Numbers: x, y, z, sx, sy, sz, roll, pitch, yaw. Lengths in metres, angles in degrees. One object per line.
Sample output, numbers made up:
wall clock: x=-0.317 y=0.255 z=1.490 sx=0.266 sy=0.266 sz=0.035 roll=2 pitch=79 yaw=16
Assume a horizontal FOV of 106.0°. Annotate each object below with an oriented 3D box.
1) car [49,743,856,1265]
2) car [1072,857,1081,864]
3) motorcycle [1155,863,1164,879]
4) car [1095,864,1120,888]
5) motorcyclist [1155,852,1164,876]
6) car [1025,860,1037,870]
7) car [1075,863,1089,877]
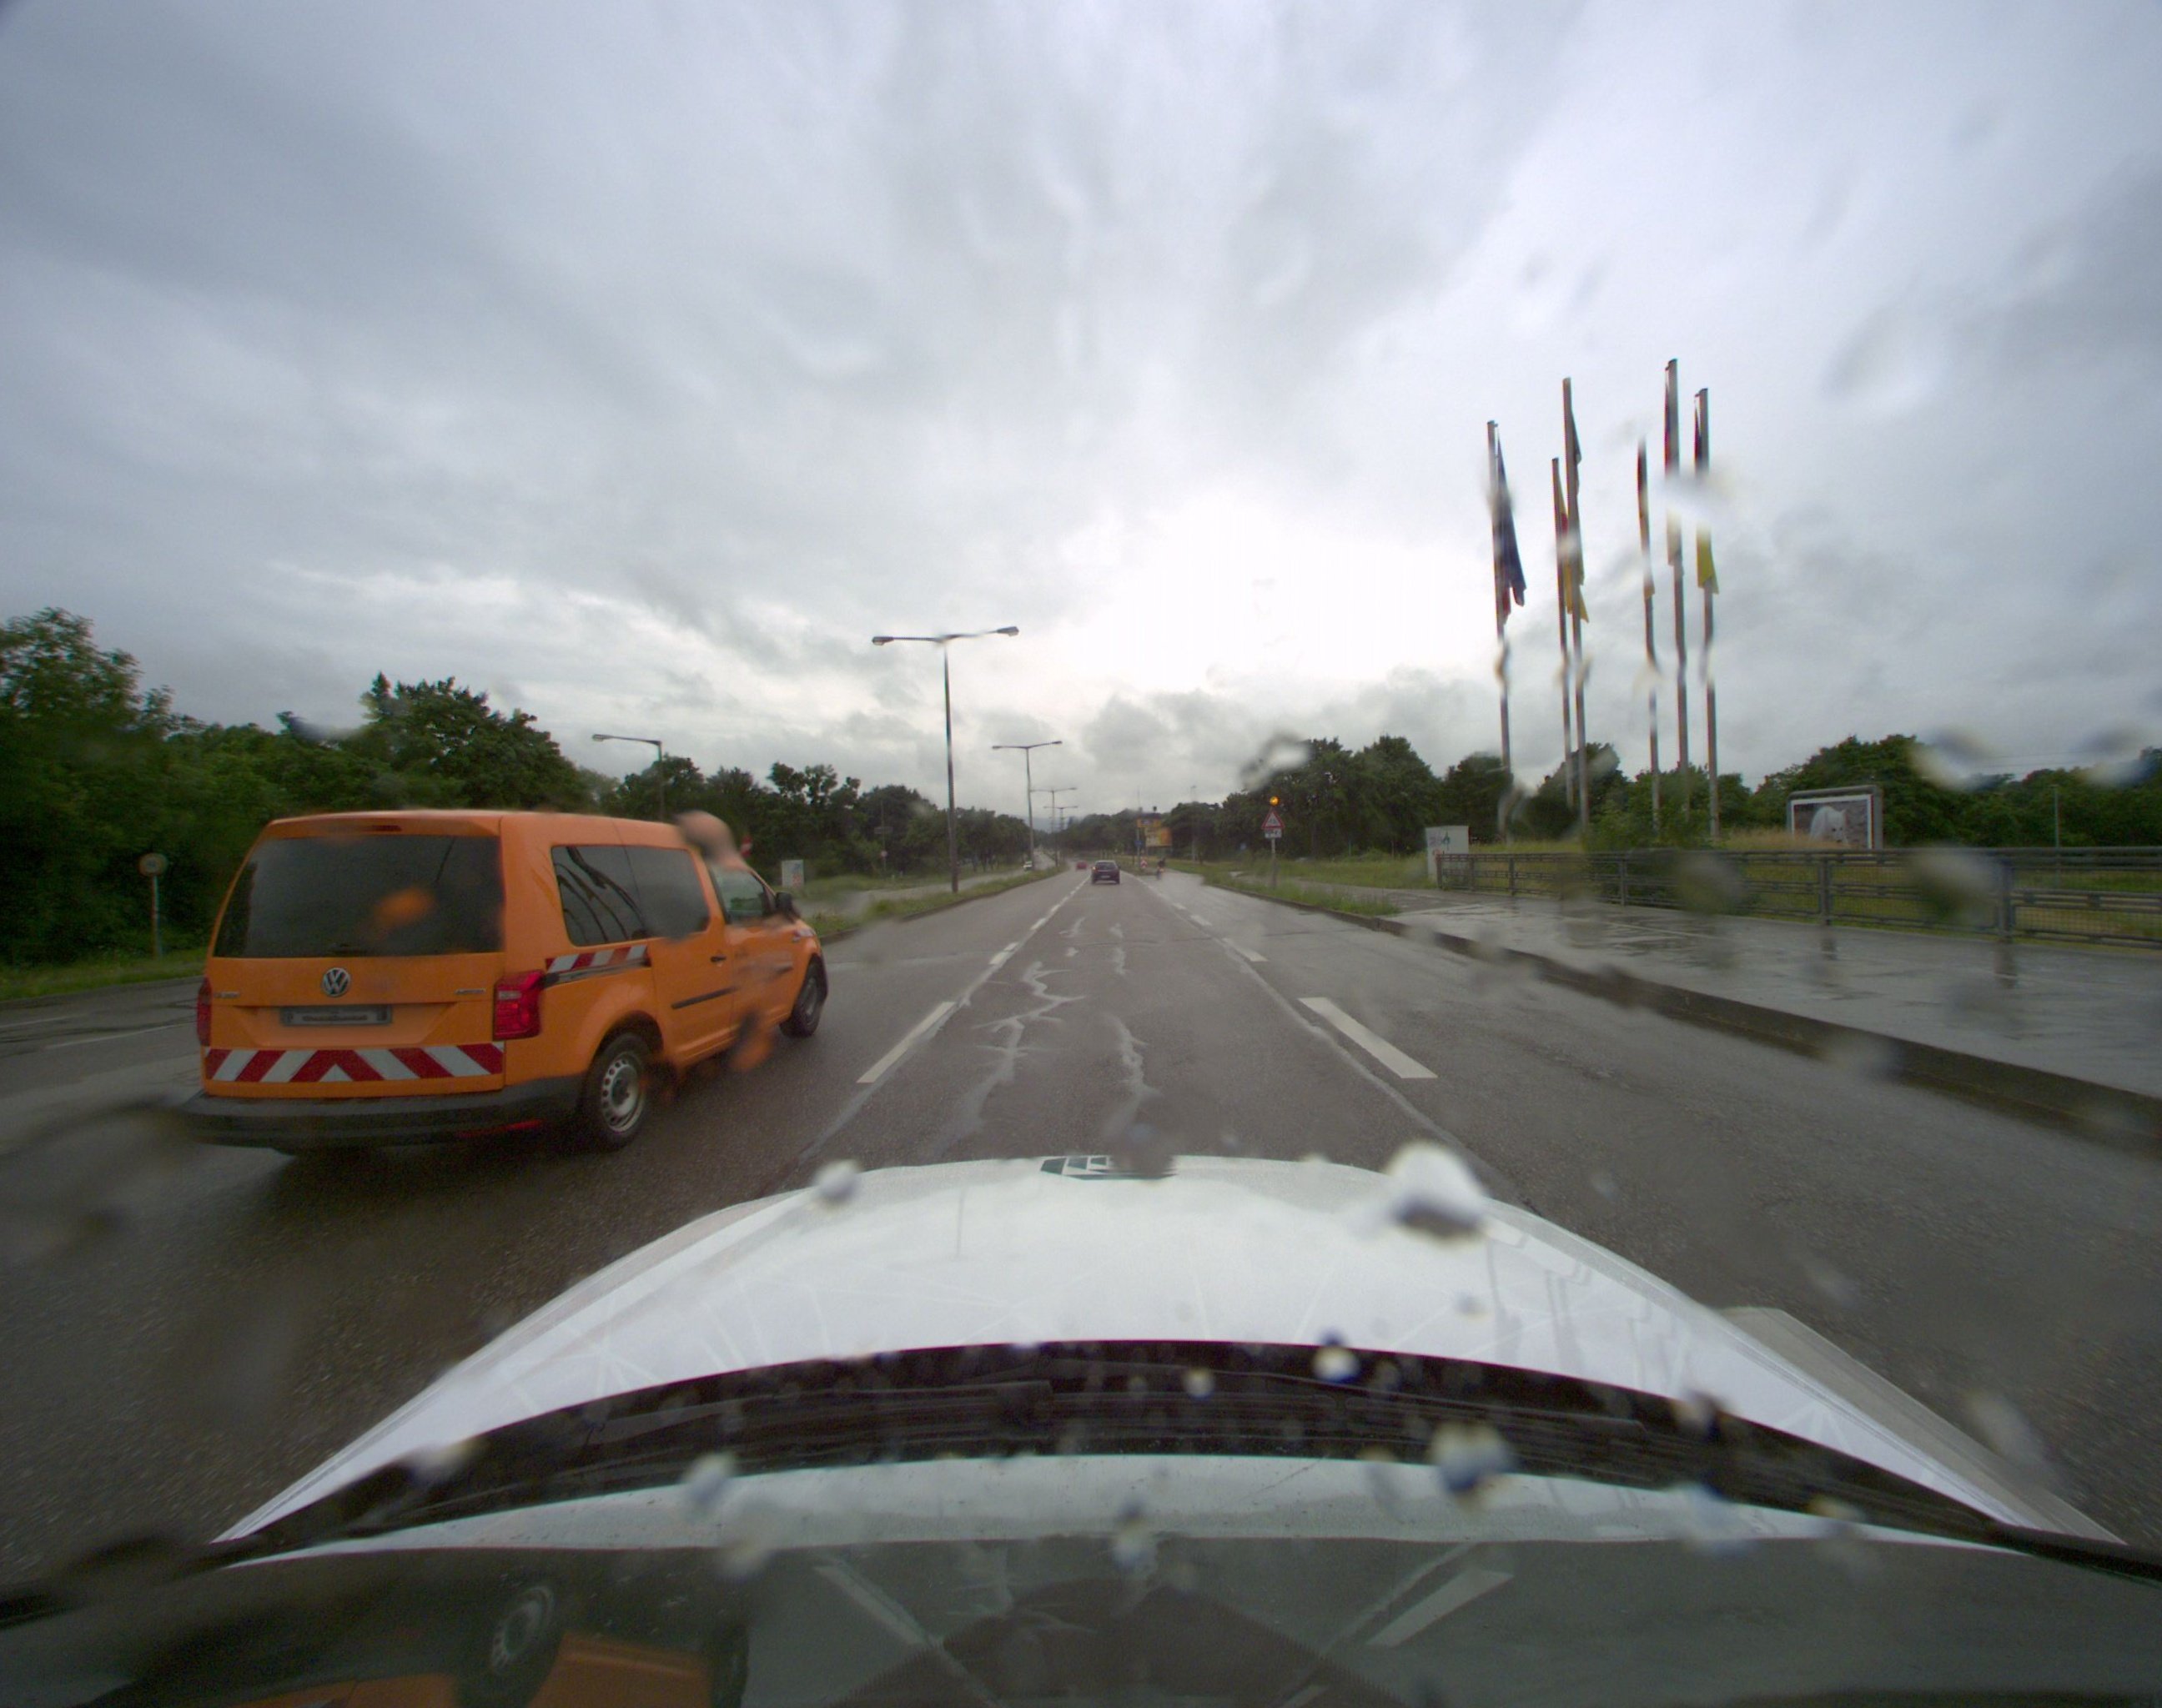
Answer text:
car: x=-3.185 y=0.632 z=5.667 sx=1.728 sy=2.019 sz=4.850 roll=-2 pitch=-1 yaw=1
car: x=-1.338 y=2.161 z=256.483 sx=2.510 sy=2.052 sz=5.287 roll=-2 pitch=-1 yaw=-3
motorcycle: x=5.648 y=1.208 z=58.290 sx=0.598 sy=1.093 sz=1.735 roll=-1 pitch=0 yaw=6
car: x=1.579 y=1.312 z=49.484 sx=1.458 sy=1.329 sz=3.758 roll=-1 pitch=0 yaw=0
motorcyclist: x=5.627 y=0.732 z=58.273 sx=0.598 sy=1.690 sz=0.862 roll=-1 pitch=0 yaw=6
car: x=-8.700 y=1.982 z=143.087 sx=1.701 sy=1.629 sz=4.492 roll=-4 pitch=0 yaw=0
car: x=0.135 y=2.325 z=118.147 sx=1.987 sy=1.879 sz=4.000 roll=-1 pitch=-1 yaw=1
